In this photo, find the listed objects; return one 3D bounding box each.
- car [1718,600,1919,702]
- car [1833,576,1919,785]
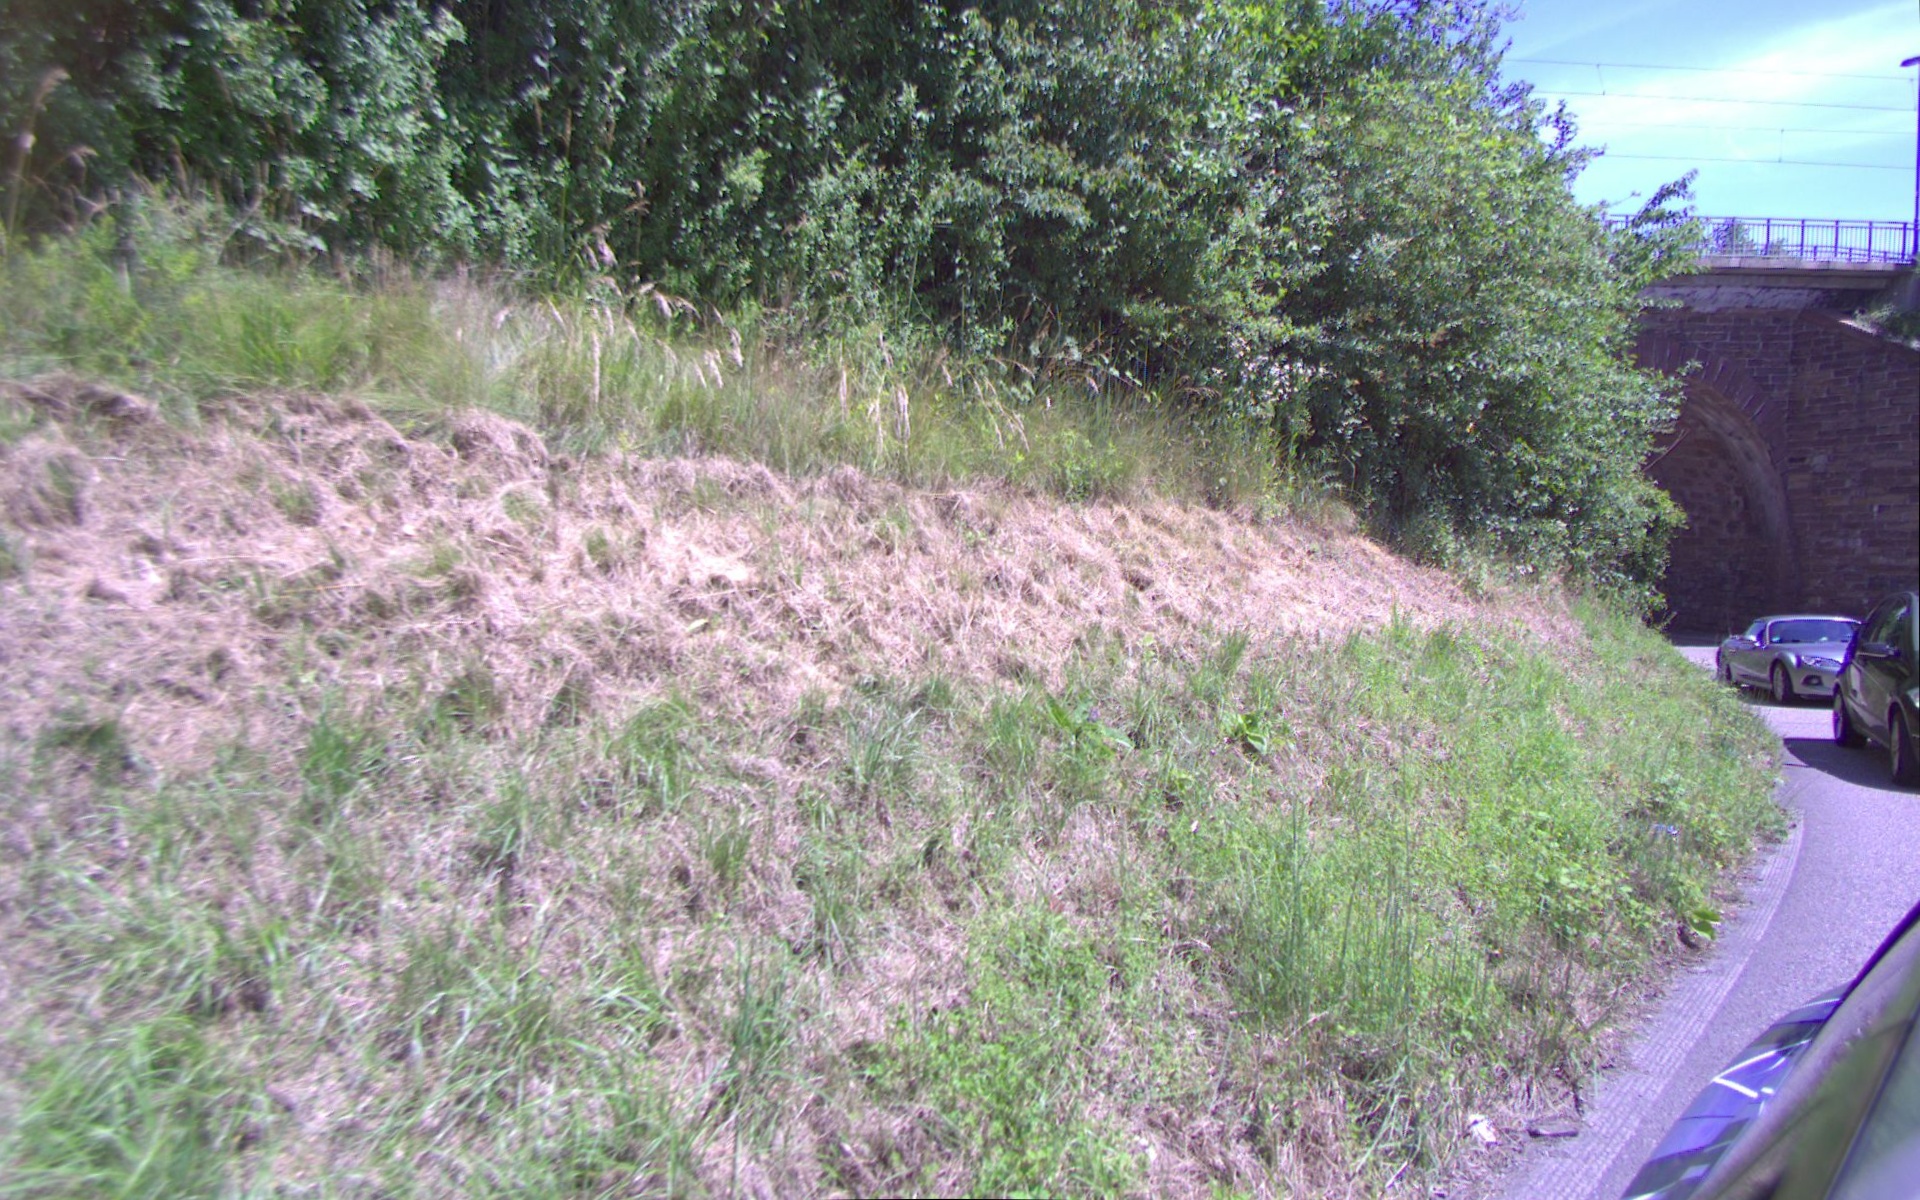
[{"bbox_3d":[12.882,0.682,15.119,1.629,1.339,3.413,-1,0,22],"label":"car"},{"bbox_3d":[8.968,0.614,8.616,1.784,1.599,3.755,1,1,33],"label":"car"}]
